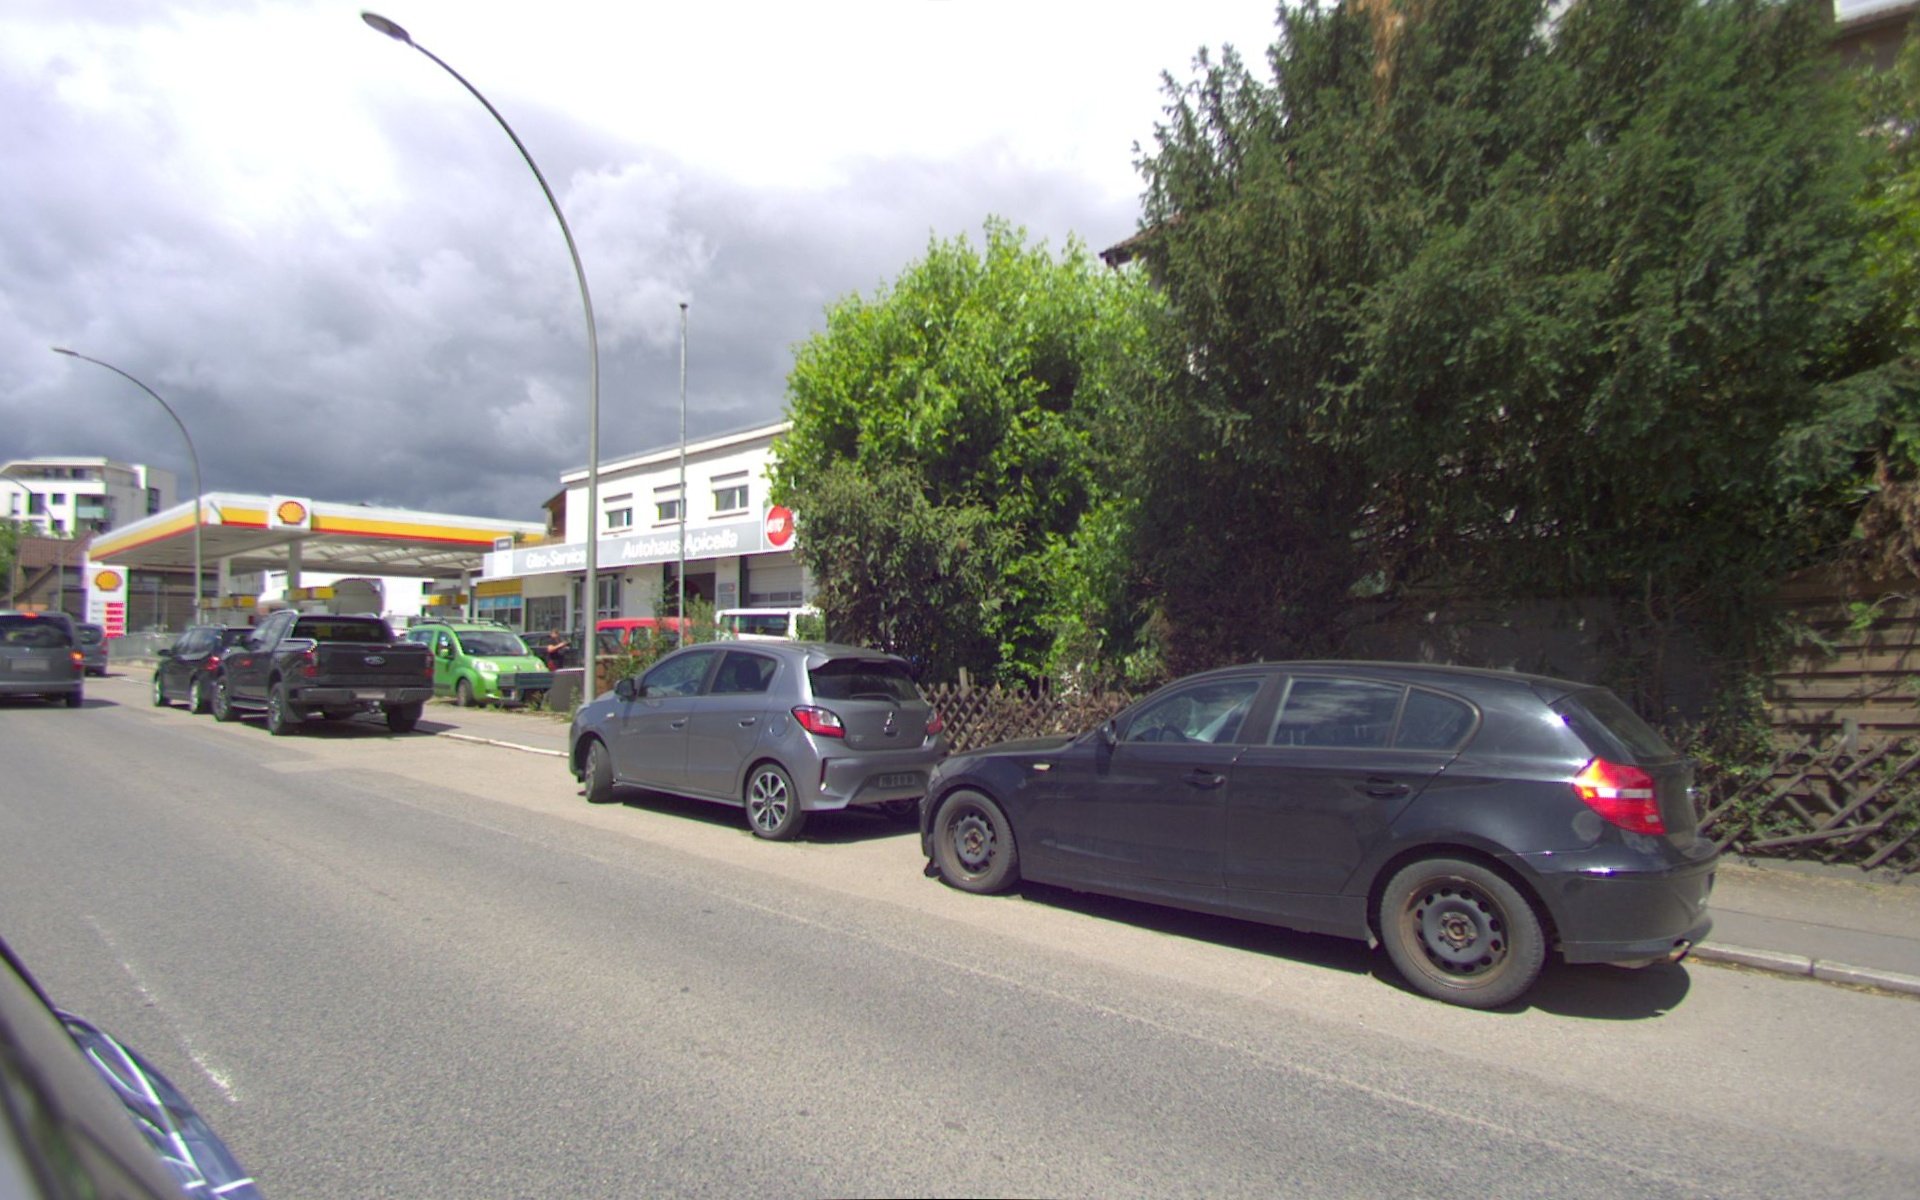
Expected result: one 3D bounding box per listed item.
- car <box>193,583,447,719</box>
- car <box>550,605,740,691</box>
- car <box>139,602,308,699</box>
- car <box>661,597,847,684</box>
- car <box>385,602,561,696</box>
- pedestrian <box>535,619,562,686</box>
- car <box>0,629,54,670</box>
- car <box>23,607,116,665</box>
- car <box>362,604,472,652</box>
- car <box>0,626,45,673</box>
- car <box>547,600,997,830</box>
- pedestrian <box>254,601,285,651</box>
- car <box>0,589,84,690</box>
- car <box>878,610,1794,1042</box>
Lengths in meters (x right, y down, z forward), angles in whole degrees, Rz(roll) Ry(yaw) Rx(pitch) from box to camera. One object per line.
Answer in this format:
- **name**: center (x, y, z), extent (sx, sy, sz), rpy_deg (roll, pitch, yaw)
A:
- **car**: center (-10.434, 0.824, 16.290), extent (5.427, 1.835, 1.890), rpy_deg (-1, -6, 41)
- **car**: center (-7.311, 1.030, 23.373), extent (4.322, 1.799, 1.779), rpy_deg (0, 1, 31)
- **car**: center (-14.446, 0.969, 19.756), extent (4.524, 1.693, 1.645), rpy_deg (-1, -4, 41)
- **car**: center (-5.122, 0.943, 25.126), extent (4.316, 1.995, 1.865), rpy_deg (0, 0, 27)
- **car**: center (-10.420, 0.988, 21.532), extent (4.335, 1.799, 1.774), rpy_deg (-1, -2, 41)
- **pedestrian**: center (-9.800, 1.239, 24.120), extent (0.493, 1.570, 0.408), rpy_deg (-1, -1, 41)
- **car**: center (-38.192, 2.005, 41.063), extent (3.944, 1.526, 1.645), rpy_deg (-2, -6, 42)
- **car**: center (-30.048, 1.224, 34.102), extent (4.188, 1.751, 1.711), rpy_deg (-1, -6, 41)
- **car**: center (-22.467, 1.152, 42.142), extent (1.947, 1.866, 4.983), rpy_deg (0, -2, 0)
- **car**: center (-41.581, 2.125, 44.045), extent (4.311, 1.882, 1.767), rpy_deg (-1, -6, 39)
- **car**: center (-1.749, 0.861, 8.641), extent (3.943, 1.522, 1.645), rpy_deg (-1, -6, 41)
- **pedestrian**: center (-31.210, 1.169, 45.726), extent (1.011, 2.195, 0.928), rpy_deg (-1, -1, 40)
- **car**: center (-18.696, 0.768, 19.808), extent (4.335, 1.809, 1.645), rpy_deg (-1, -4, 41)
- **car**: center (1.675, 0.855, 5.488), extent (4.336, 1.446, 1.645), rpy_deg (-1, -5, 41)
